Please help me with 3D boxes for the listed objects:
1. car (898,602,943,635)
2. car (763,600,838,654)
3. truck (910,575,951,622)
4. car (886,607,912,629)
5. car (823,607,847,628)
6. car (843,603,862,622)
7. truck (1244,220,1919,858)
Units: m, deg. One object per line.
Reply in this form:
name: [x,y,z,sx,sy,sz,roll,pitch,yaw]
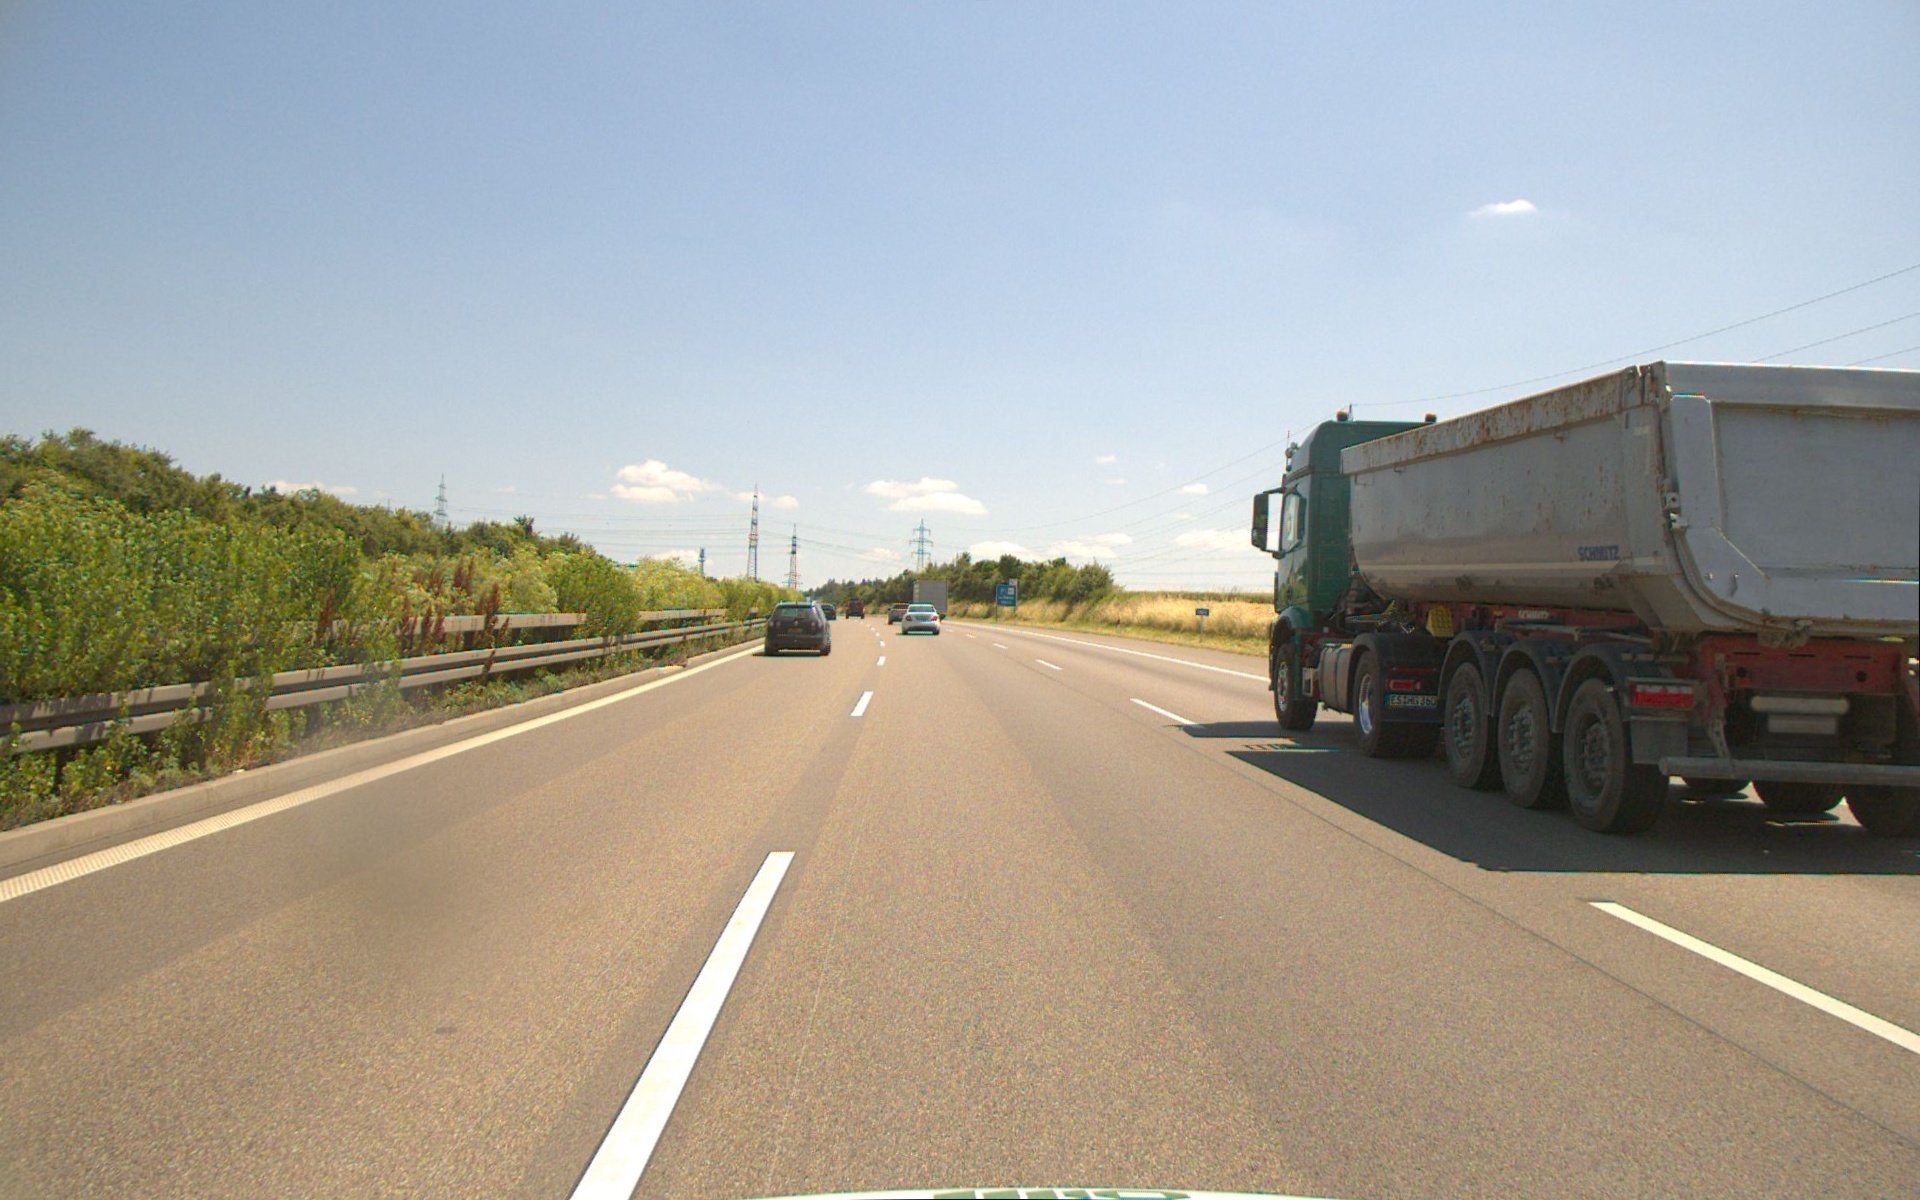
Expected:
car: [-1.931,0.874,79.802,1.785,1.568,3.909,0,0,-7]
car: [-4.440,0.734,46.435,1.720,1.454,4.000,0,0,0]
truck: [-2.641,-0.082,145.089,3.157,3.993,9.053,1,-1,-3]
car: [-4.439,1.281,120.164,1.802,1.568,3.912,0,0,-3]
car: [-11.623,1.641,153.804,1.953,1.892,3.999,0,0,-1]
car: [-11.209,1.304,173.105,1.863,1.959,3.998,0,0,-2]
truck: [5.491,-0.343,16.263,2.807,3.789,12.757,0,0,-2]
